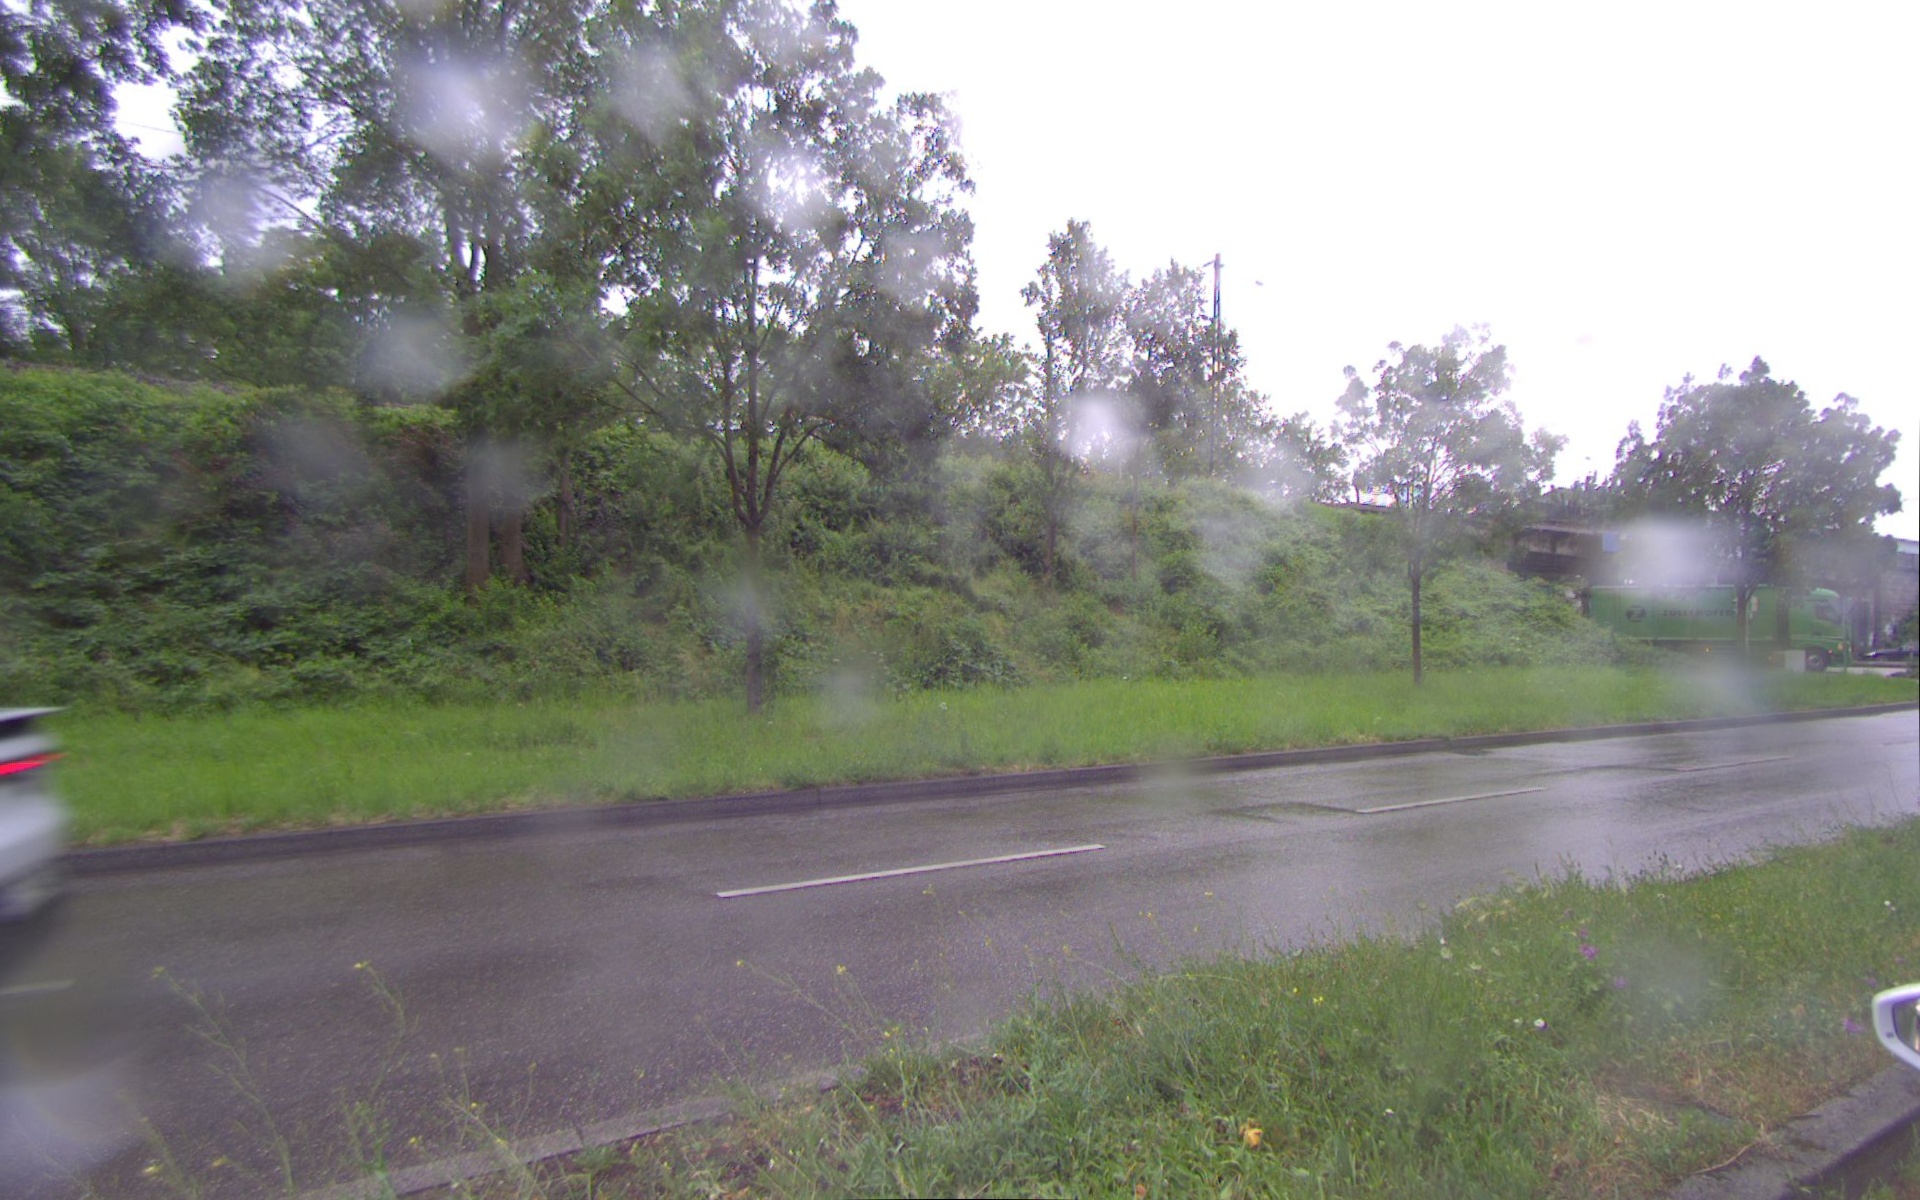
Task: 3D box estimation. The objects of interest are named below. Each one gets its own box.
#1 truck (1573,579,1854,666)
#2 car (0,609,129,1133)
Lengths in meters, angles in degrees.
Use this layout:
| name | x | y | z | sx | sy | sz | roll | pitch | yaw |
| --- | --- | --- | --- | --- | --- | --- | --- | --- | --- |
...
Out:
| name | x | y | z | sx | sy | sz | roll | pitch | yaw |
| --- | --- | --- | --- | --- | --- | --- | --- | --- | --- |
| truck | 34.360 | 0.979 | 46.401 | 9.947 | 3.497 | 2.657 | 2 | -1 | 24 |
| car | -5.123 | 0.815 | 2.618 | 4.286 | 1.545 | 1.952 | 1 | -2 | -32 |
